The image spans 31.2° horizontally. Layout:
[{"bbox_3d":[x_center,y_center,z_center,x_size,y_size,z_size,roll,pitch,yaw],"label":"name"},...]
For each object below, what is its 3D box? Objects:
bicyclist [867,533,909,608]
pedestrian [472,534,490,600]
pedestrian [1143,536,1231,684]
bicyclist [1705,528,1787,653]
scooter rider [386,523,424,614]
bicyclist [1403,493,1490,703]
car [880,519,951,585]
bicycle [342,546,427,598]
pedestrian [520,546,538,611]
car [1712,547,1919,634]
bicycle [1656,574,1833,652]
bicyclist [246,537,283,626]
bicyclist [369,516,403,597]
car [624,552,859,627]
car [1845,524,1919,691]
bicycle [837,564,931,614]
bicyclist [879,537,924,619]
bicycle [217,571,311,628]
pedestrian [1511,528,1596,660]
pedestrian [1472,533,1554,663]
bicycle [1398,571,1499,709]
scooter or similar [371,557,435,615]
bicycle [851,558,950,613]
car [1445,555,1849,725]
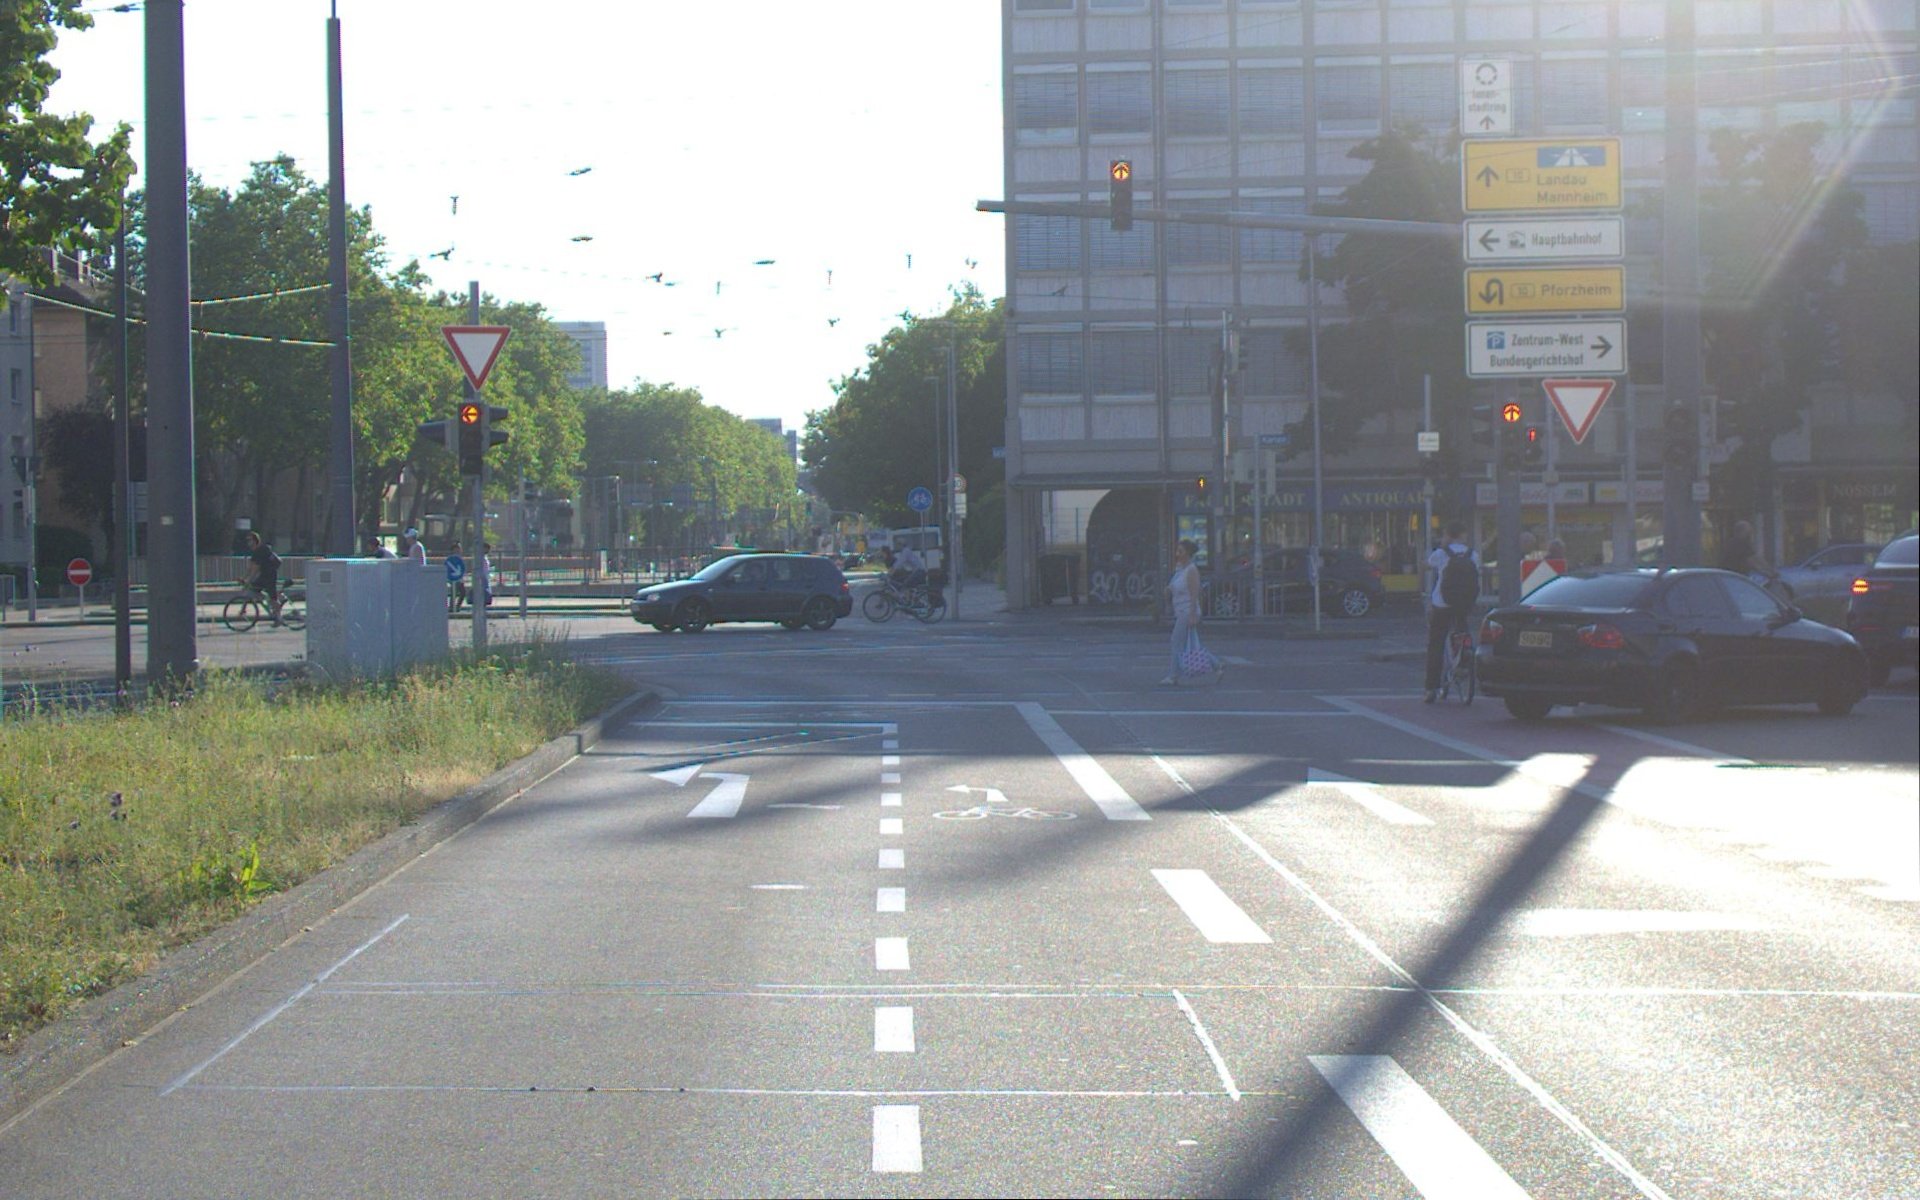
[{"bbox_3d":[-1.706,-0.694,81.313,0.898,1.747,0.650,-1,1,-5],"label":"bicyclist"},{"bbox_3d":[-10.988,-0.751,78.888,0.365,1.502,0.543,-1,1,-8],"label":"pedestrian"},{"bbox_3d":[2.490,0.100,37.741,0.878,1.592,0.655,-1,1,-1],"label":"pedestrian"},{"bbox_3d":[10.545,-0.133,46.135,0.959,1.656,0.691,0,1,2],"label":"bicyclist"},{"bbox_3d":[-10.513,-0.593,65.123,0.663,1.706,0.527,-1,1,-11],"label":"scooter rider"},{"bbox_3d":[4.759,-0.036,33.674,0.643,2.006,1.067,1,2,-1],"label":"bicyclist"},{"bbox_3d":[-1.724,-1.829,131.459,2.486,2.384,5.935,-2,1,-2],"label":"car"},{"bbox_3d":[-12.216,-0.595,72.970,1.731,1.056,0.539,-1,1,-11],"label":"bicycle"},{"bbox_3d":[-9.981,-0.506,79.572,0.365,1.502,0.543,-1,1,-8],"label":"pedestrian"},{"bbox_3d":[17.069,-0.200,67.095,4.332,1.590,2.000,-1,1,0],"label":"car"},{"bbox_3d":[10.518,0.169,46.149,2.226,1.023,0.682,0,1,2],"label":"bicycle"},{"bbox_3d":[-13.620,-0.364,67.345,0.663,1.706,0.539,-1,1,-11],"label":"bicyclist"},{"bbox_3d":[-12.184,-0.931,72.972,0.663,1.706,0.539,-1,1,-11],"label":"bicyclist"},{"bbox_3d":[-4.088,-0.213,64.171,3.986,1.284,1.848,-1,1,-22],"label":"car"},{"bbox_3d":[11.076,0.053,37.404,1.996,1.687,3.995,2,2,26],"label":"car"},{"bbox_3d":[-1.798,-0.273,81.316,2.173,1.133,0.659,-1,1,-5],"label":"bicycle"},{"bbox_3d":[-1.267,-0.487,74.547,0.898,1.747,0.655,-1,1,-5],"label":"bicyclist"},{"bbox_3d":[-13.630,-0.019,67.343,1.775,1.068,0.535,-1,1,-11],"label":"bicycle"},{"bbox_3d":[7.293,-0.082,42.295,0.878,1.592,0.655,-1,1,-3],"label":"pedestrian"},{"bbox_3d":[6.921,-0.032,43.045,0.878,1.592,0.655,-1,1,-3],"label":"pedestrian"},{"bbox_3d":[4.740,0.371,33.475,0.644,1.219,2.048,1,2,-1],"label":"bicycle"},{"bbox_3d":[-10.549,-0.266,65.123,1.171,1.068,0.530,-1,1,-11],"label":"scooter or similar"},{"bbox_3d":[-1.293,-0.314,74.552,2.093,1.133,0.658,-1,1,-5],"label":"bicycle"},{"bbox_3d":[6.283,0.314,31.189,1.748,1.421,3.990,0,1,43],"label":"car"}]
